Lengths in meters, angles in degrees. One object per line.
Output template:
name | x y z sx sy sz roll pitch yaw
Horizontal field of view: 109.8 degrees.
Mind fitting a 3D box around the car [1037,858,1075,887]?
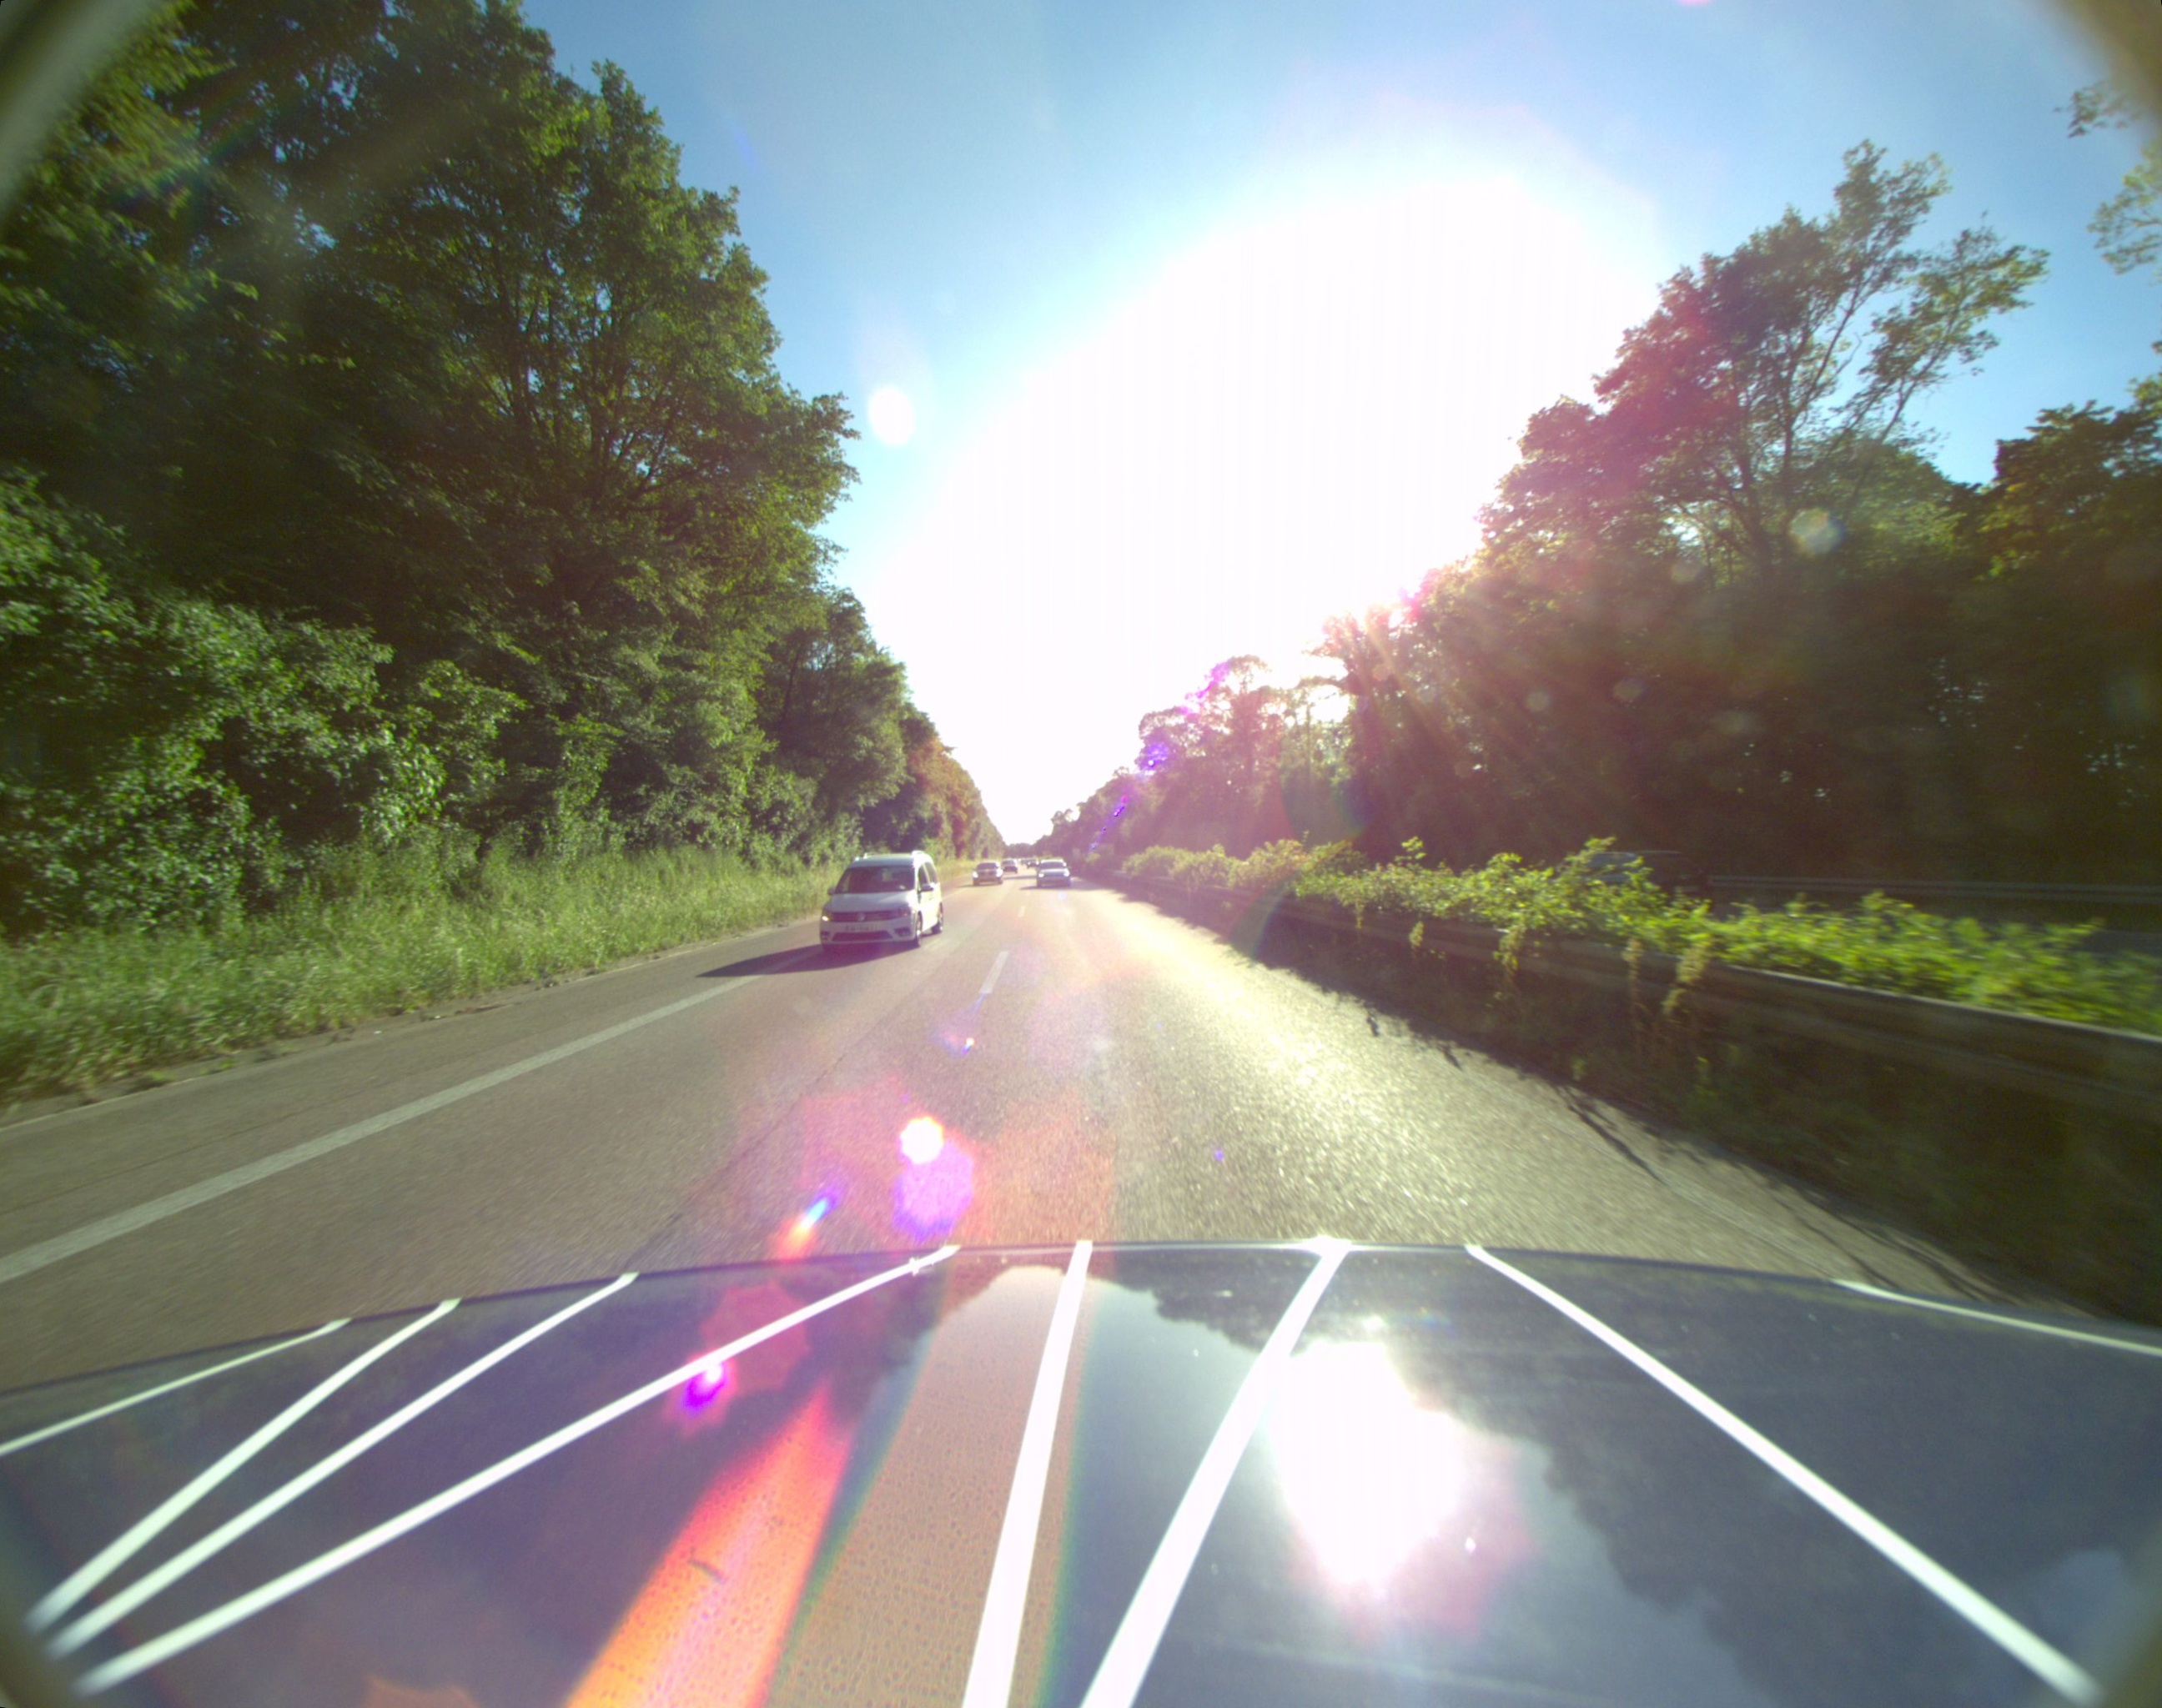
car | -1.439 0.975 42.029 1.891 1.440 3.876 -2 0 -5

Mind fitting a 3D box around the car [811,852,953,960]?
car | -3.886 0.914 15.656 1.804 1.802 4.586 -2 1 -2

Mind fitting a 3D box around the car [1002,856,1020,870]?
car | -7.627 0.936 82.425 1.795 1.440 3.876 -2 0 -6

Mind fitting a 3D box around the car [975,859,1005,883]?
car | -5.875 1.065 49.241 1.795 1.440 3.876 -2 0 -6

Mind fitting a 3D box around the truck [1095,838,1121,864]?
truck | 4.507 -0.518 129.525 2.715 4.073 14.014 -2 1 -4

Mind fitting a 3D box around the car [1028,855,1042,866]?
car | -7.226 1.000 119.217 1.915 1.561 4.323 -2 1 -5

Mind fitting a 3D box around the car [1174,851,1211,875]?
car | 9.278 0.735 63.557 1.999 1.850 4.708 -2 1 -5

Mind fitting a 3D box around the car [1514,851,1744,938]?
car | 12.178 0.796 17.371 1.902 1.615 4.622 -2 1 0
